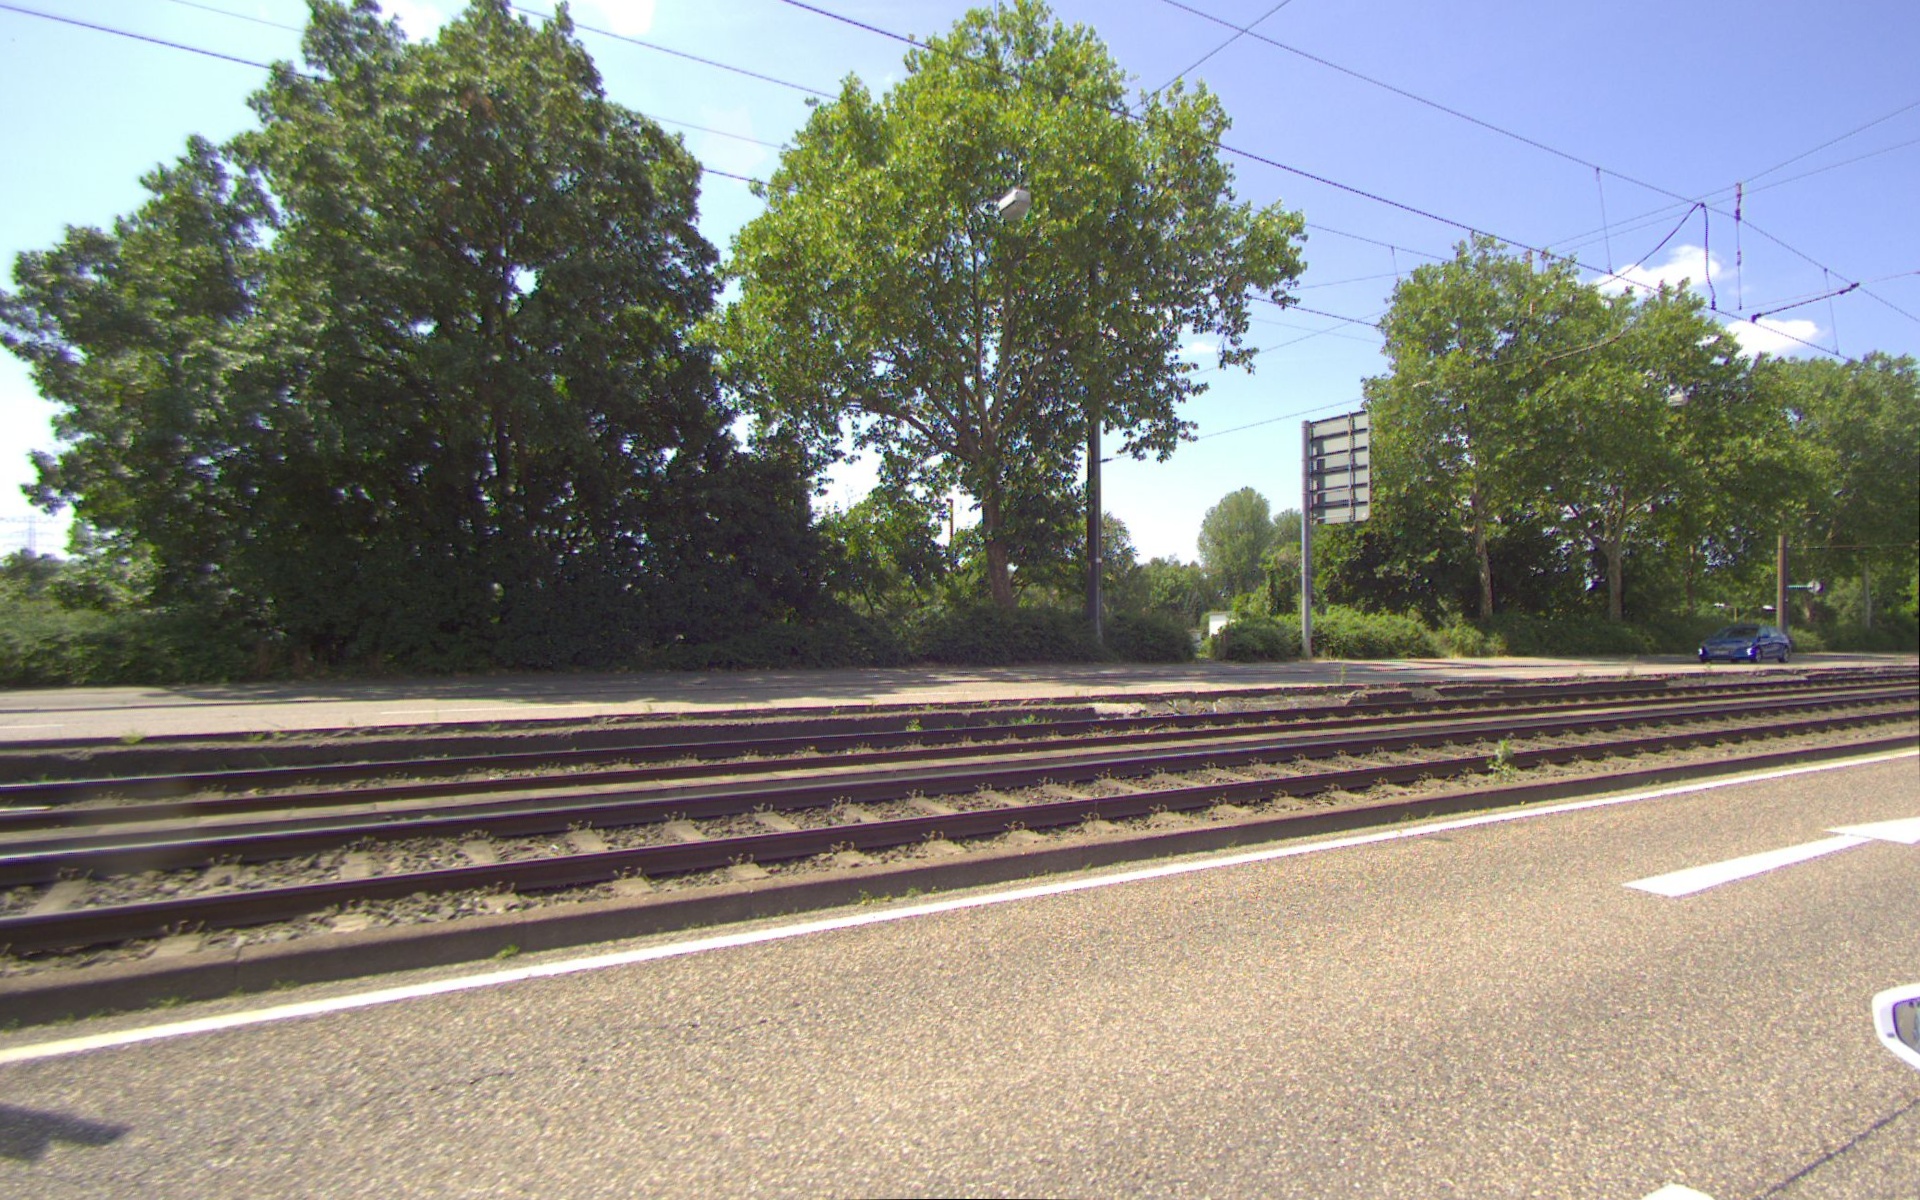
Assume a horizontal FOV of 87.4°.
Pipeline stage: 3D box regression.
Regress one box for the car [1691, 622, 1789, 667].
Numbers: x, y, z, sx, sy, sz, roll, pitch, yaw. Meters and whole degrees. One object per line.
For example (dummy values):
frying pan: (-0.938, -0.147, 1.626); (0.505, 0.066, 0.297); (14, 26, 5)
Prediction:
car: (29.753, 1.653, 38.279); (4.171, 1.571, 1.635); (1, 0, -33)
